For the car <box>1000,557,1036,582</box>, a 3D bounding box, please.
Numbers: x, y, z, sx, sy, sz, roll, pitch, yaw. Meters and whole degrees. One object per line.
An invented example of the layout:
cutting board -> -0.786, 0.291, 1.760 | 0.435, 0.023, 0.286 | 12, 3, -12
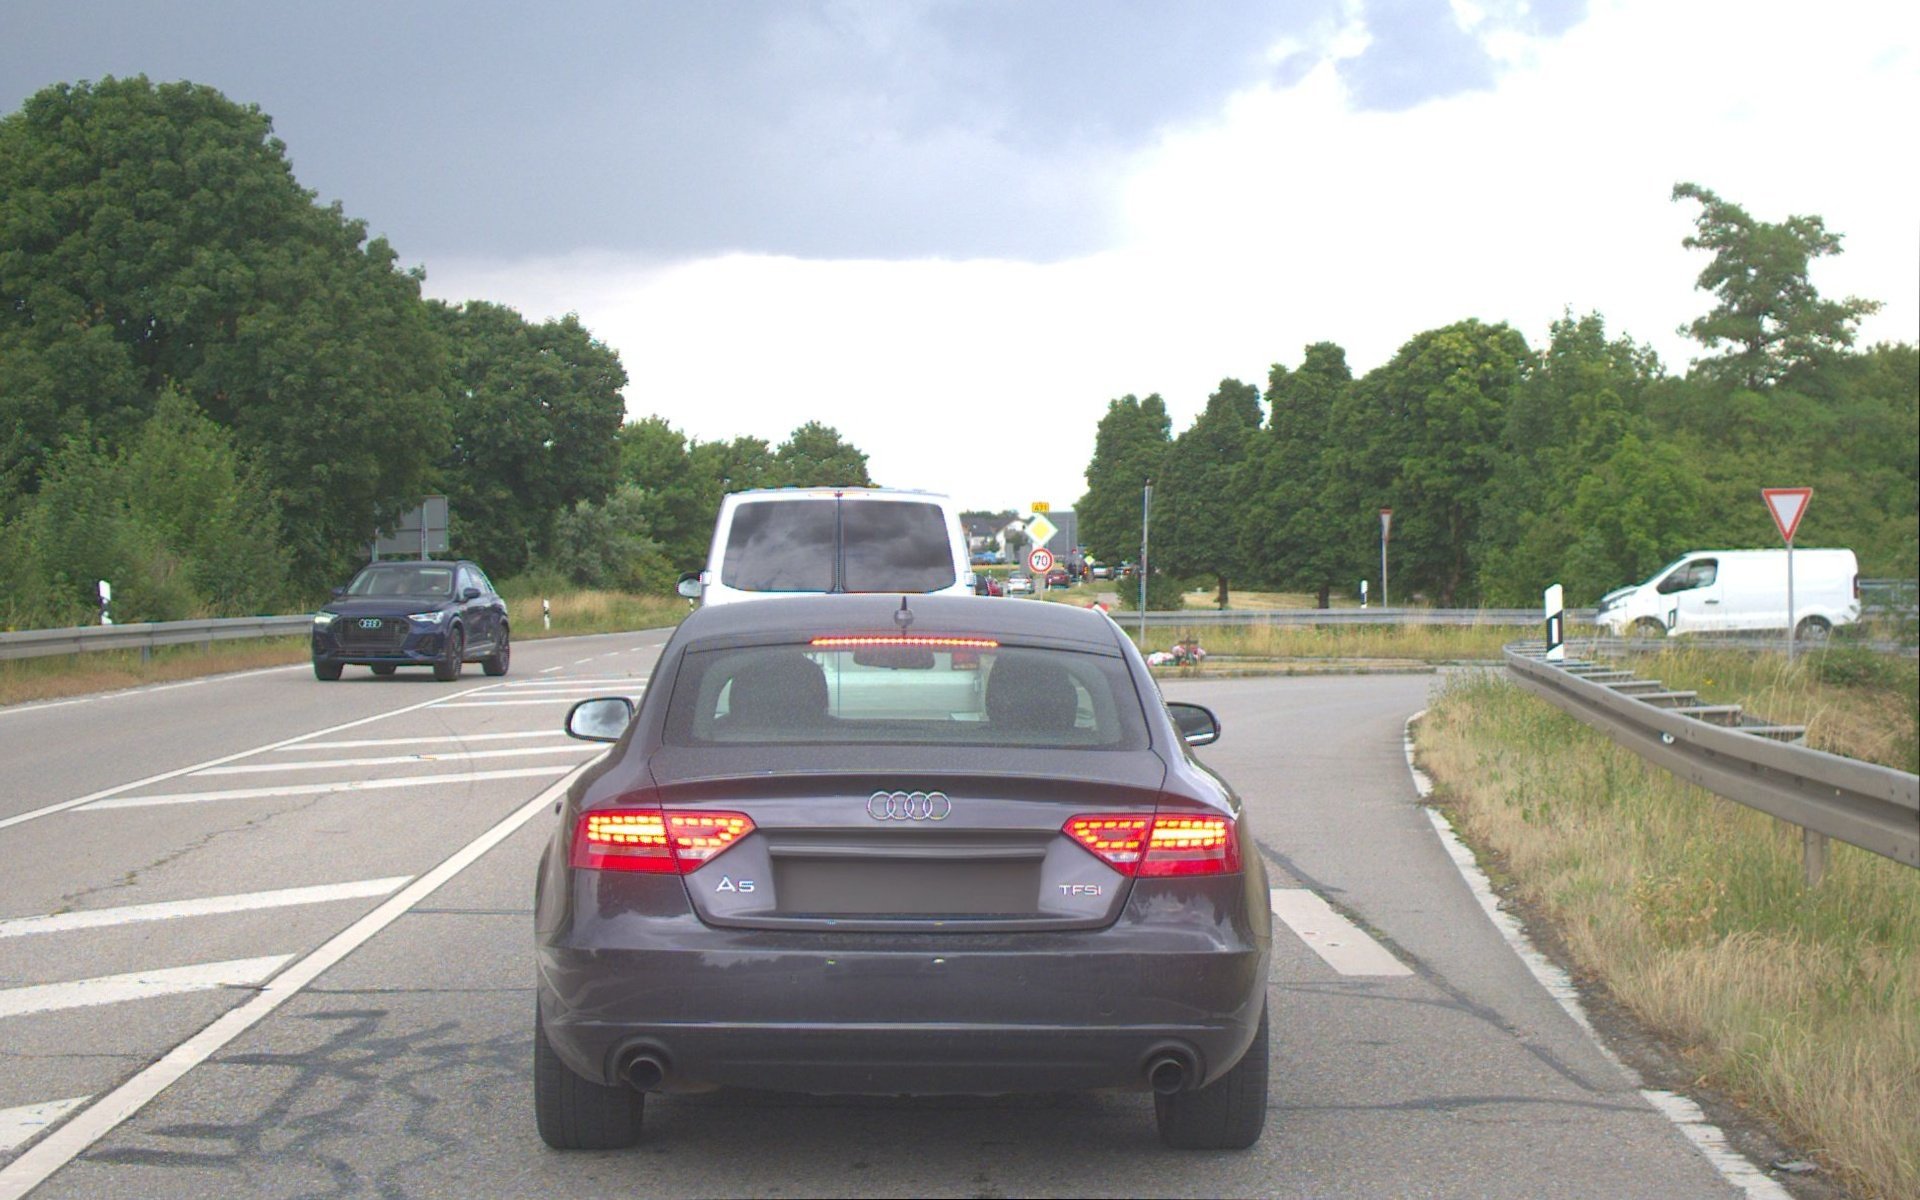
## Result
car -> 3.864, -2.043, 230.554 | 2.205, 1.577, 4.379 | 1, 1, -2

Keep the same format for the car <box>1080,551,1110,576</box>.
car -> 9.656, -2.622, 245.863 | 1.993, 1.686, 4.000 | 1, 1, 1

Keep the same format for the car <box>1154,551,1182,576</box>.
car -> 14.440, -2.570, 238.862 | 1.876, 1.686, 4.000 | 1, 1, 4

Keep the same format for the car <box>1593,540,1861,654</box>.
car -> 14.562, -0.079, 65.528 | 4.862, 2.057, 2.087 | 1, 1, 10

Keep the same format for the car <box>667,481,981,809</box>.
car -> -0.903, 0.239, 23.228 | 1.910, 2.007, 4.001 | 1, 1, -2

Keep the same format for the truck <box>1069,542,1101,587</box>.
truck -> 8.282, -2.383, 227.707 | 1.993, 2.908, 5.793 | 1, 1, 1

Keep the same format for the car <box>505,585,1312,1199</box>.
car -> -0.172, 0.673, 9.271 | 1.779, 1.394, 3.337 | 0, 1, -2

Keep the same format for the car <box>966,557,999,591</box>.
car -> 1.389, -1.581, 210.795 | 1.993, 2.007, 4.000 | 1, 1, 1

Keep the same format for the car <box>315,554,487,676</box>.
car -> -7.436, 0.161, 46.065 | 1.709, 1.513, 4.210 | 1, 1, -1
